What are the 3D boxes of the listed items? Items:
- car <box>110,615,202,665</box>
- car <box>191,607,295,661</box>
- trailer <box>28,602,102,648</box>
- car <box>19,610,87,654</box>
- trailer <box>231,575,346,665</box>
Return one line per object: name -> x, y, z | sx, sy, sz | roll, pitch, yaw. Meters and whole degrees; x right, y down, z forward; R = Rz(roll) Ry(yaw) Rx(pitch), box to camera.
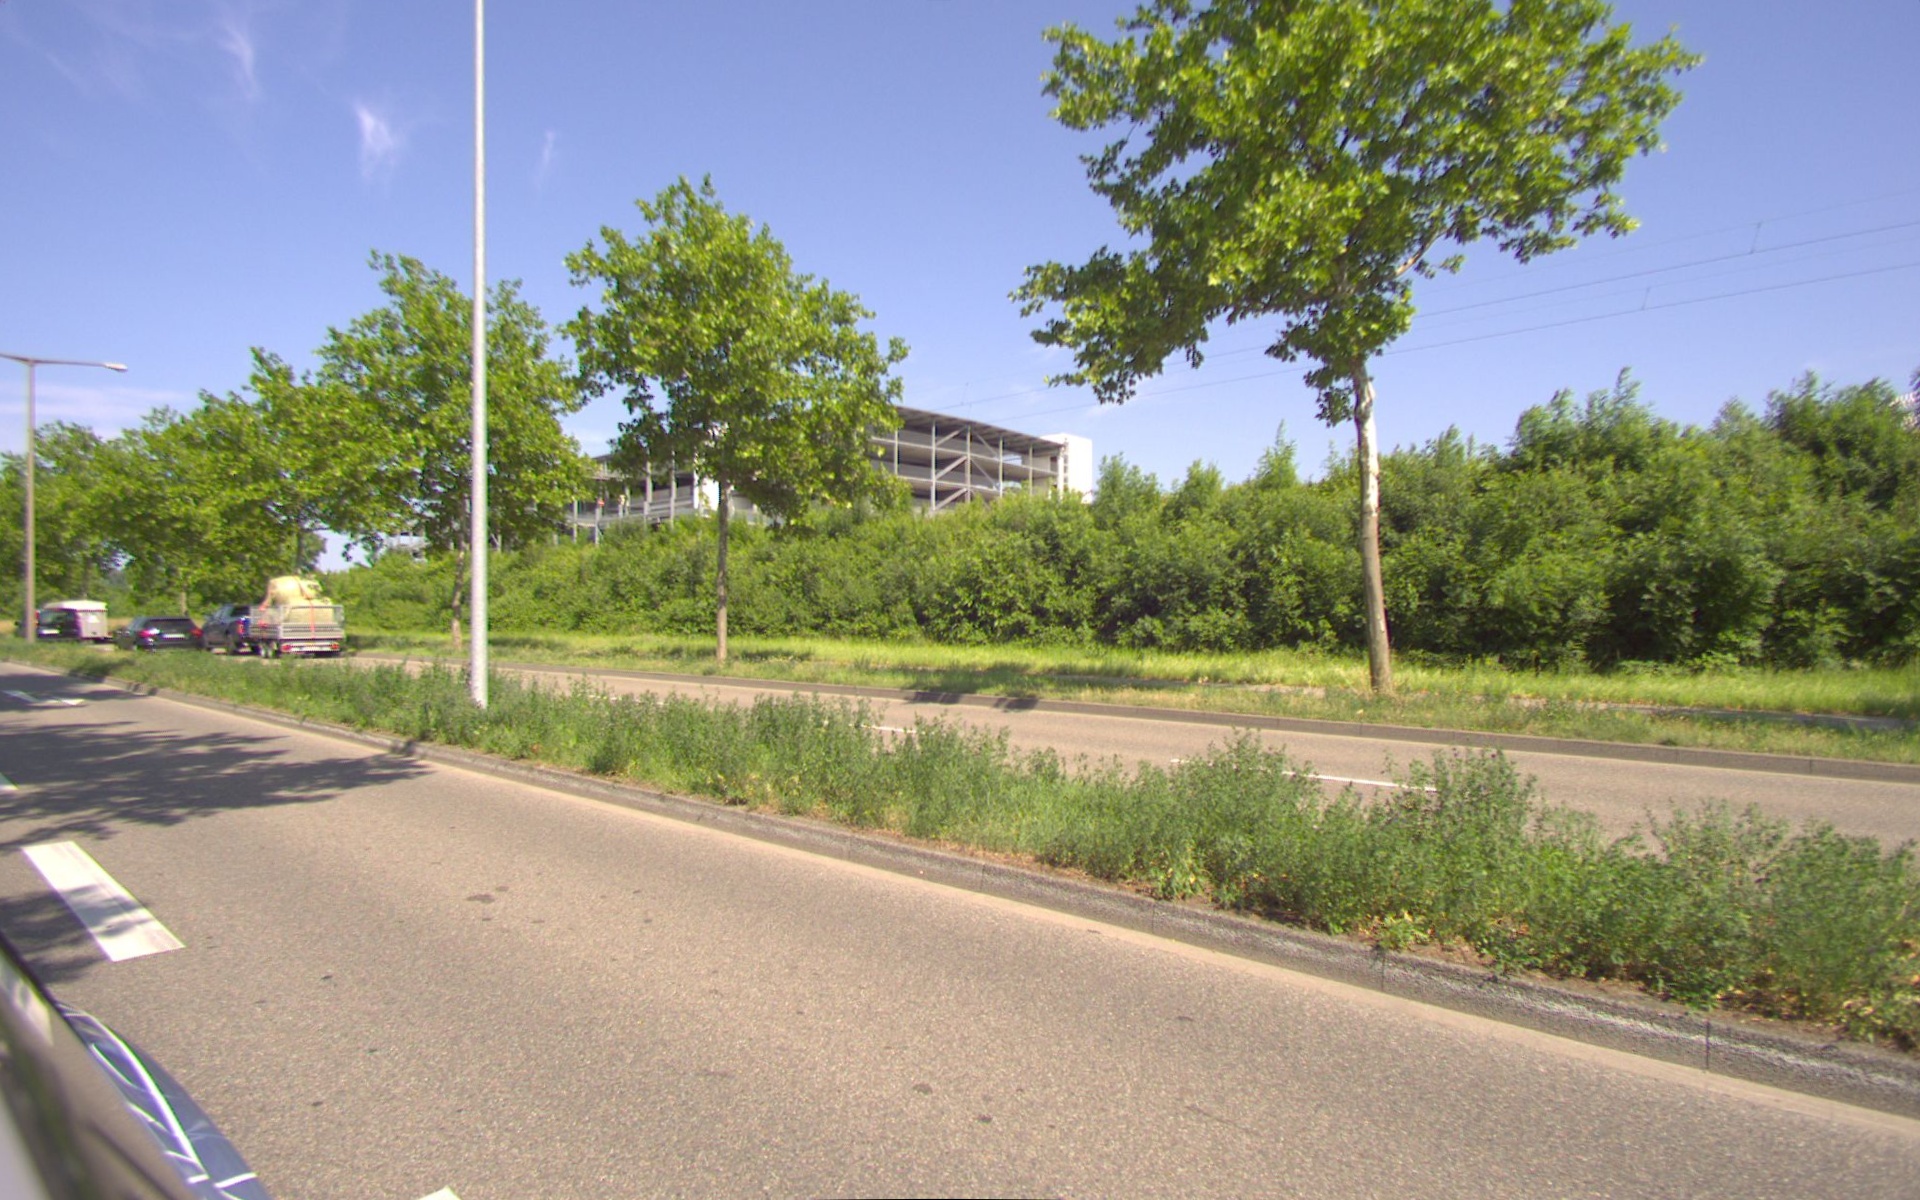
car -> -25.879, 1.253, 32.546 | 3.787, 1.483, 1.586 | -1, 0, 40
car -> -25.854, 1.168, 36.409 | 5.372, 1.803, 1.746 | -1, 0, 40
trailer -> -46.847, 1.262, 52.940 | 5.537, 2.282, 2.284 | -1, -1, 42
car -> -40.337, 1.369, 44.993 | 4.229, 1.823, 1.713 | -1, 0, 41
trailer -> -22.126, 0.615, 33.288 | 4.825, 2.764, 1.861 | -1, 0, 40
